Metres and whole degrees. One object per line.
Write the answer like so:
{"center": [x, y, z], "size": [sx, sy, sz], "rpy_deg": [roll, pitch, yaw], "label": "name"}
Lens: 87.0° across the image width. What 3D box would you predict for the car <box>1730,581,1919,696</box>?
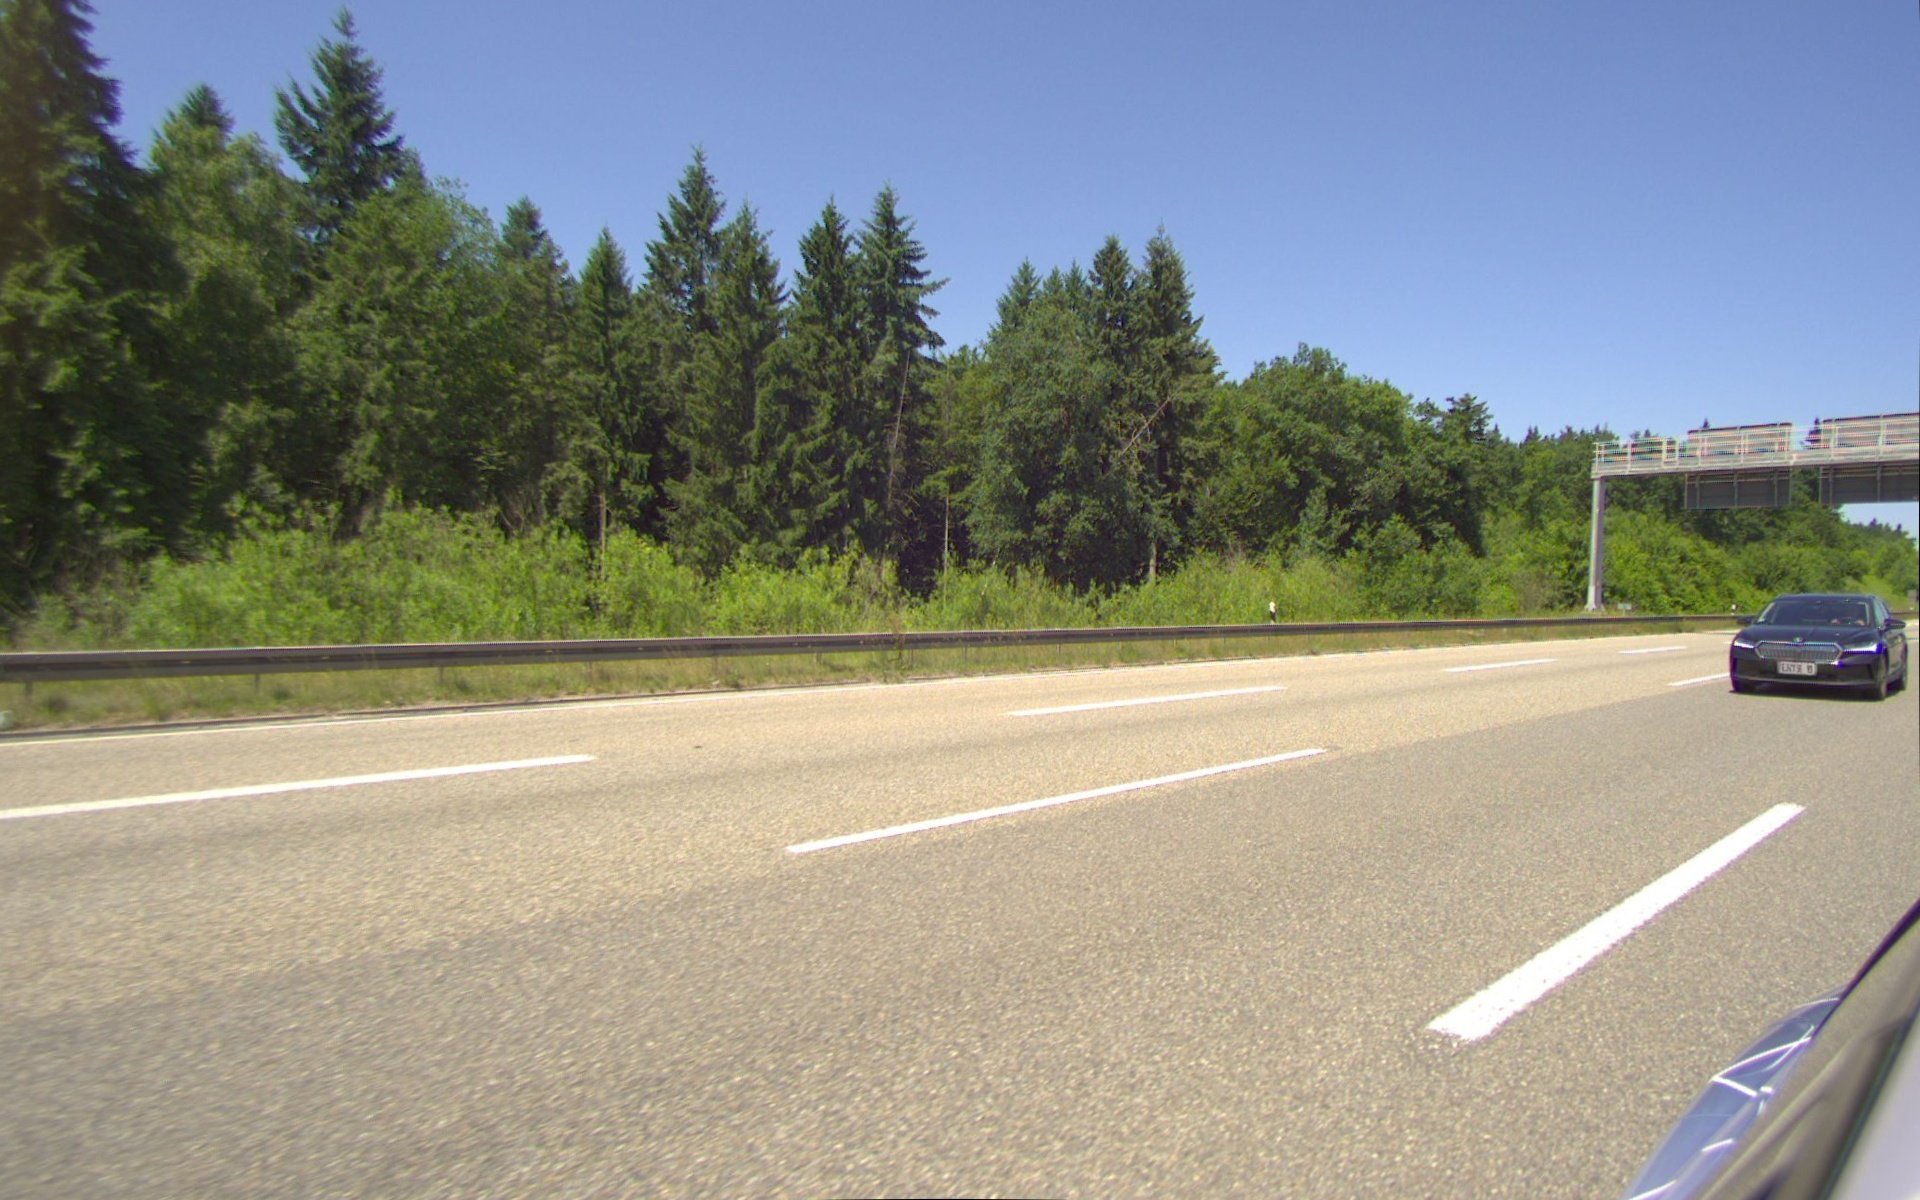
{"center": [14.469, 0.596, 16.624], "size": [4.378, 1.640, 1.988], "rpy_deg": [1, -2, -40], "label": "car"}
